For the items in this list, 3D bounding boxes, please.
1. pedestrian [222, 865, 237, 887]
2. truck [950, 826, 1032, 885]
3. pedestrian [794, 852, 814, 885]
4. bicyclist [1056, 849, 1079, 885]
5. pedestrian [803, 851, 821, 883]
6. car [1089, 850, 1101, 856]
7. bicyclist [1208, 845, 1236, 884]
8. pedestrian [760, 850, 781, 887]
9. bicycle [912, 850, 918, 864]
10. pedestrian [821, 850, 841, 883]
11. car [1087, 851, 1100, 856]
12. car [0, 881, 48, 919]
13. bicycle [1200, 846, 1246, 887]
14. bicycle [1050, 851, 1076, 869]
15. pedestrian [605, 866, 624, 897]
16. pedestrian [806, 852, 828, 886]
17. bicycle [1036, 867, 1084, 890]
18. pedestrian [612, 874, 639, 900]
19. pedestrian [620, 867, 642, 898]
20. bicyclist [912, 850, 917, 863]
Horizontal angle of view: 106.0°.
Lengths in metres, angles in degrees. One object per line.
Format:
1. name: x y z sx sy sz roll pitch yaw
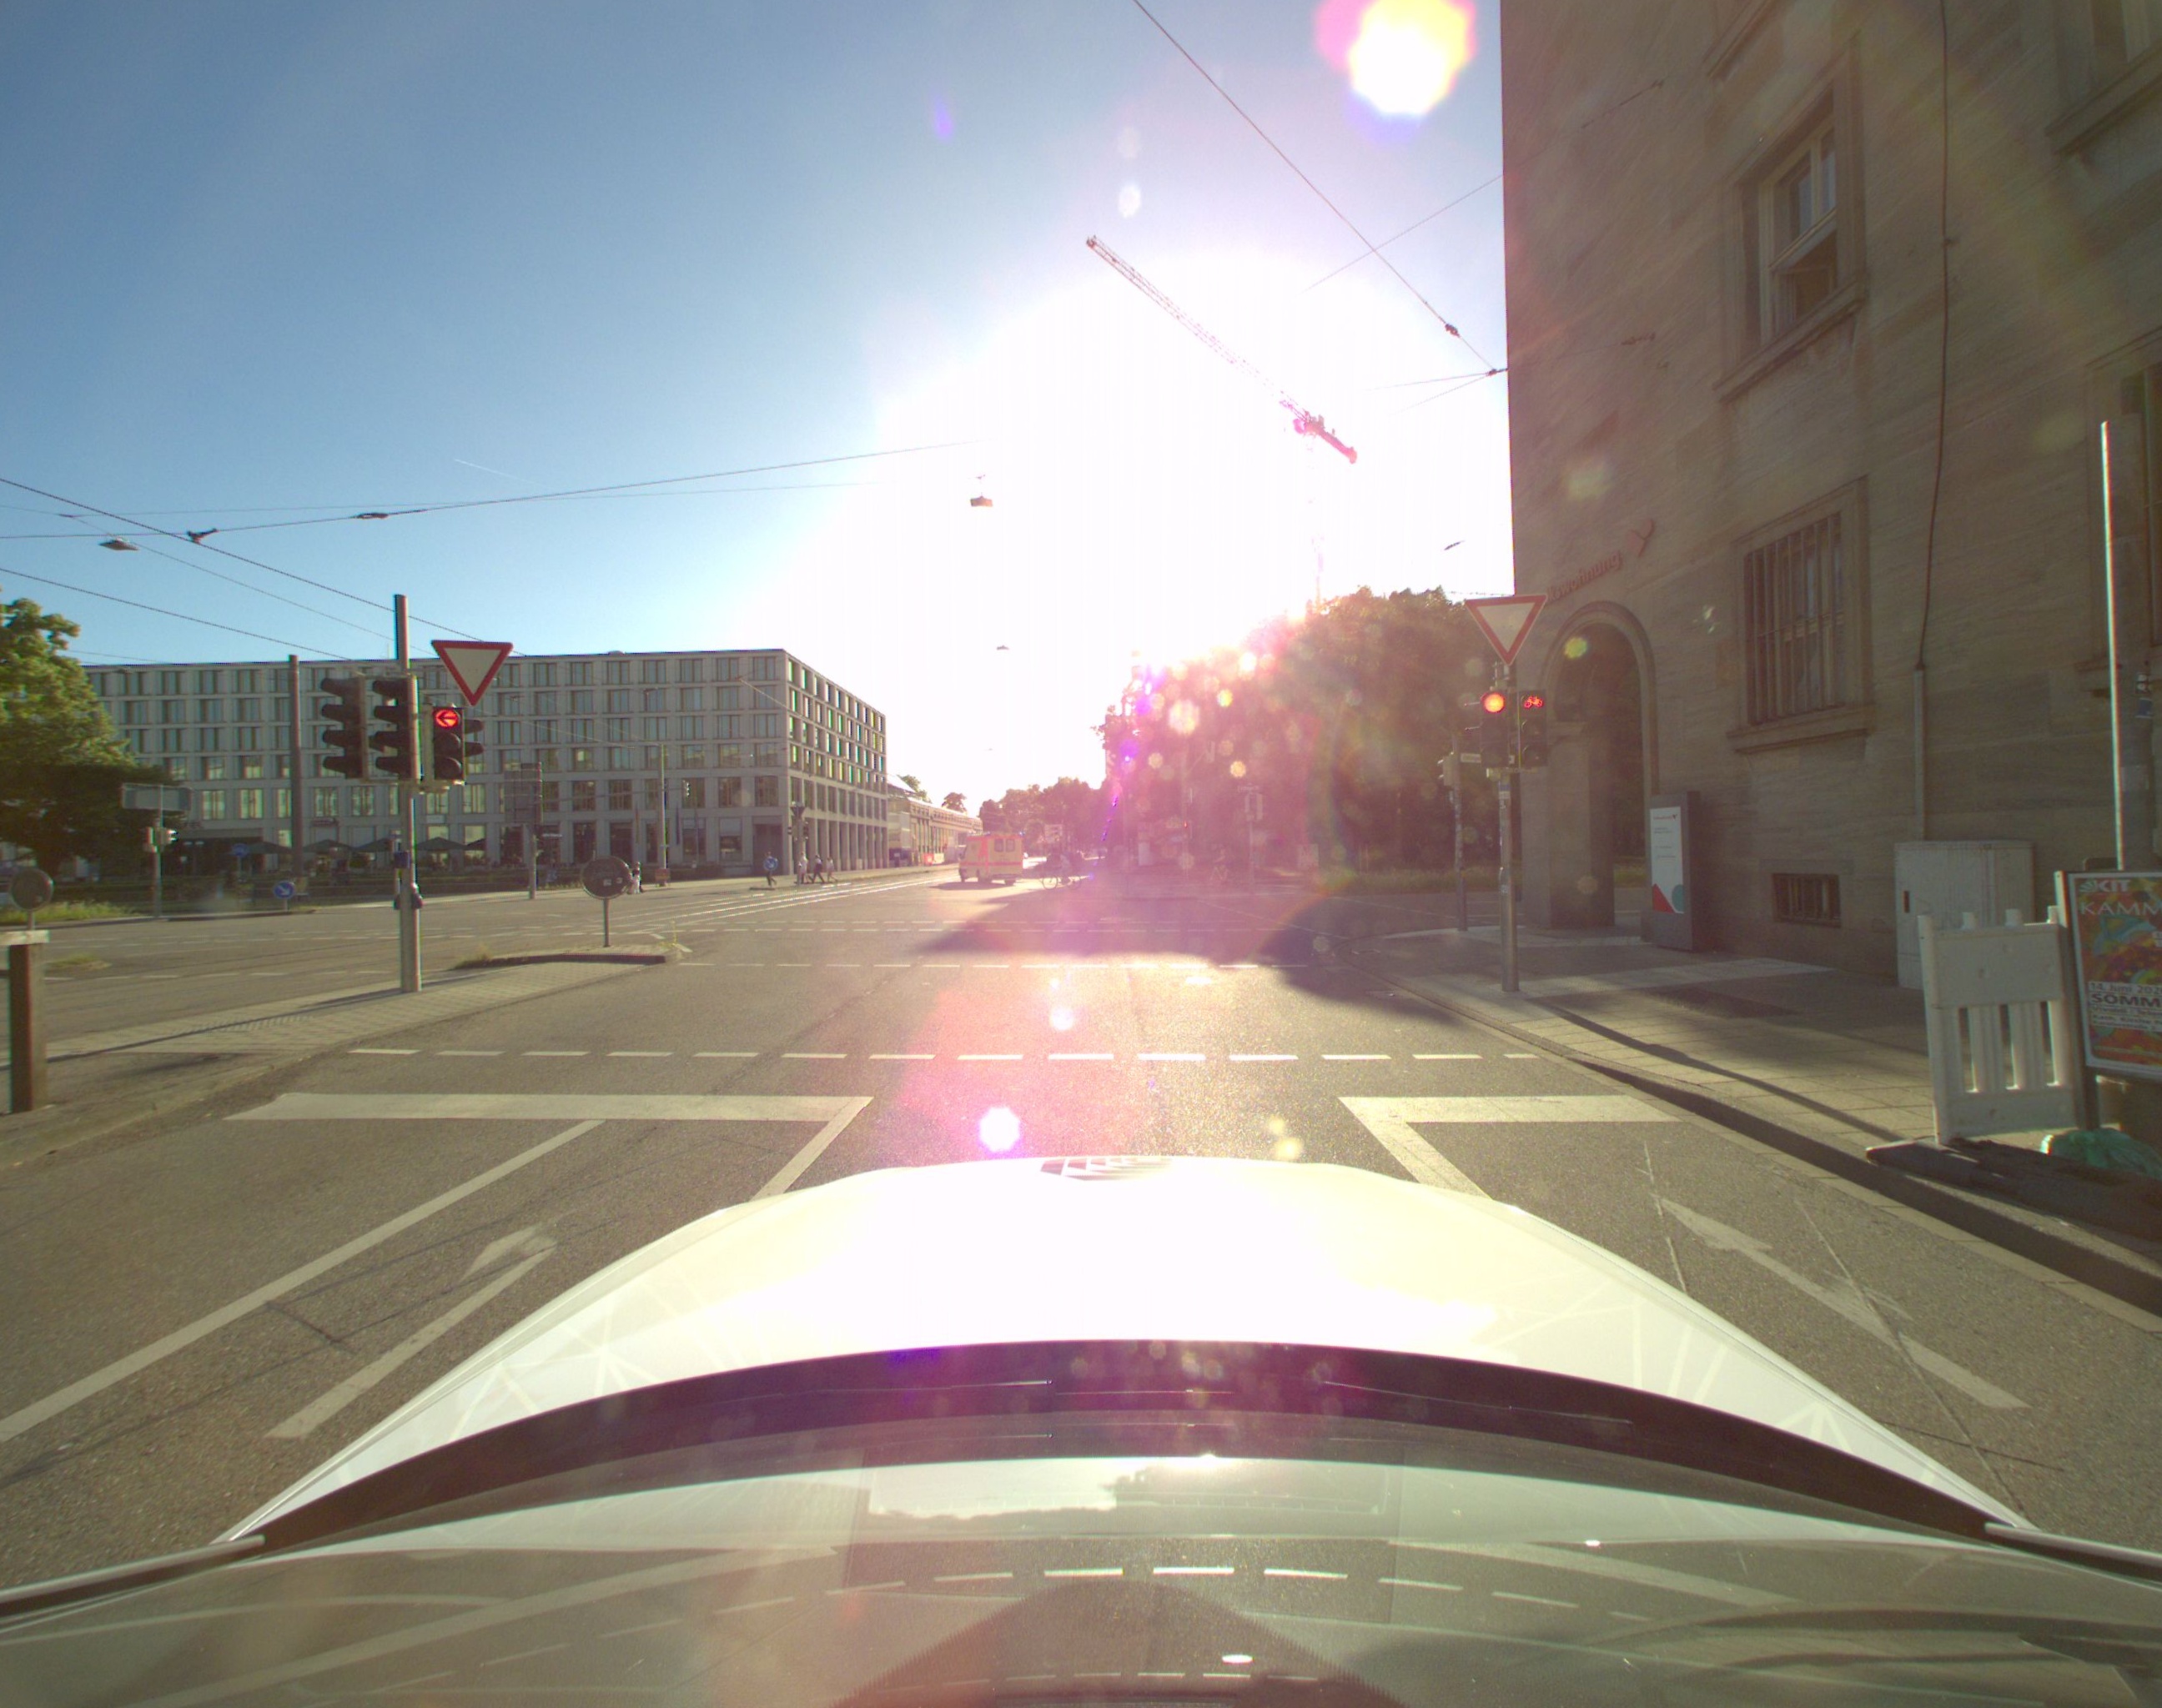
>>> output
1. pedestrian: -64.916 1.707 62.064 0.538 1.669 0.561 0 -1 -2
2. truck: -5.194 0.085 45.864 2.729 3.016 6.437 -1 0 -24
3. pedestrian: -15.327 0.810 45.044 0.735 1.803 0.717 -2 0 7
4. bicyclist: -0.603 0.574 36.087 0.972 1.560 0.574 -2 0 -3
5. pedestrian: -15.187 0.742 45.964 0.735 1.803 0.533 -2 0 7
6. car: 3.647 -0.251 213.627 3.207 1.588 1.445 0 -1 -3
7. bicyclist: 6.178 0.451 35.727 1.070 1.641 0.597 -2 0 2
8. pedestrian: -16.685 0.779 43.779 0.797 1.918 0.638 -2 0 7
9. bicycle: -26.727 0.511 131.064 0.569 2.296 1.422 -2 0 0
10. pedestrian: -13.911 0.708 45.343 0.865 1.803 0.533 -2 0 7
11. car: 3.238 -0.101 211.360 3.207 1.263 1.373 0 -1 0
12. car: -44.163 1.878 32.385 4.030 1.434 1.631 -2 -2 -1
13. bicycle: 6.216 0.554 35.726 1.890 1.735 0.597 -2 0 2
14. bicycle: -1.785 0.582 81.560 2.538 1.744 1.038 0 -1 1
15. pedestrian: -25.494 1.500 44.485 0.687 1.644 0.625 -2 0 33
16. pedestrian: -14.403 0.798 44.401 0.865 1.803 0.665 -2 0 7
17. bicycle: -0.925 1.075 36.066 2.060 0.933 0.574 -2 0 -3
18. pedestrian: -24.144 1.766 43.149 0.993 1.317 0.765 -2 0 -7
19. pedestrian: -24.121 1.514 43.663 0.790 1.644 0.621 -2 0 -3
20. bicyclist: -26.738 0.418 130.952 0.569 2.024 0.762 -2 0 0
